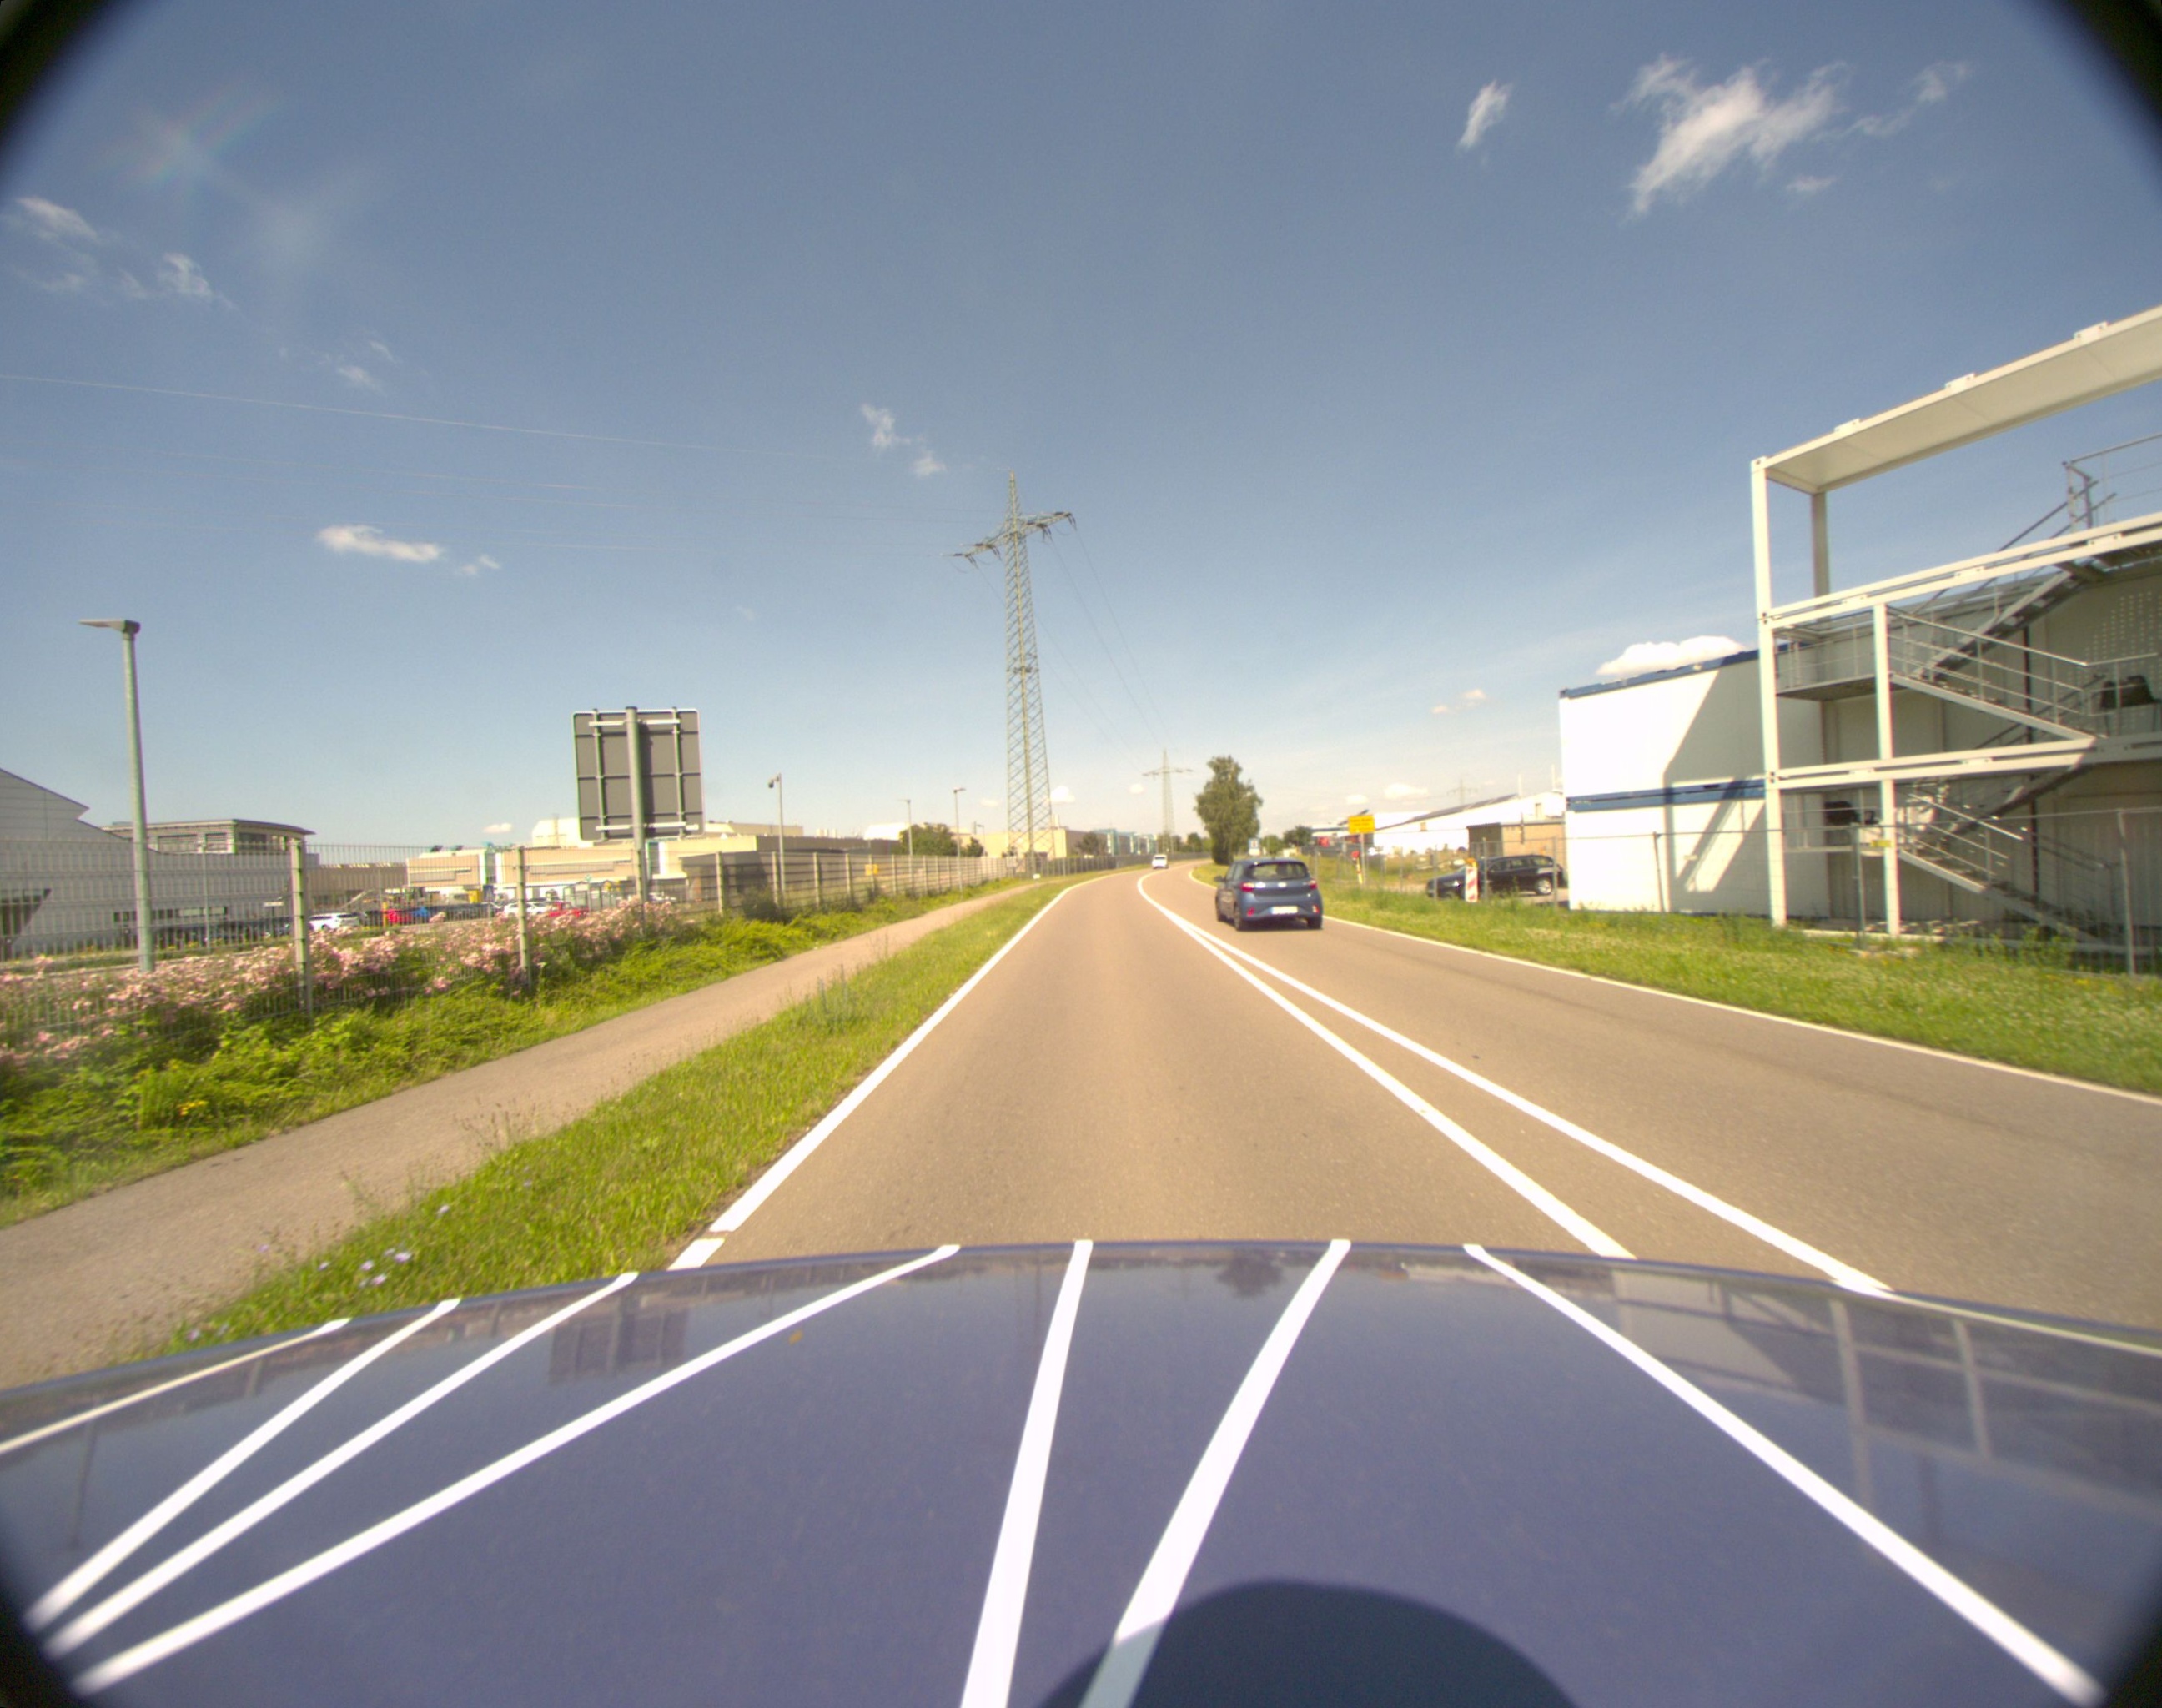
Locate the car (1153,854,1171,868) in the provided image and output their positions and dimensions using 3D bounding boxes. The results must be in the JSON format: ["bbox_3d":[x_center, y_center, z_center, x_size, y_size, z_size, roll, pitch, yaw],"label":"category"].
[{"bbox_3d":[10.626,0.900,99.089,1.835,1.796,4.834,-1,0,12],"label":"car"}]

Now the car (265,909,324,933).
[{"bbox_3d":[-59.293,5.032,57.327,3.053,1.525,1.472,-3,0,7],"label":"car"}]

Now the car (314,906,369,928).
[{"bbox_3d":[-58.510,4.974,60.115,3.053,1.525,1.472,-3,0,7],"label":"car"}]

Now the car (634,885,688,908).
[{"bbox_3d":[-45.092,4.565,81.593,4.746,2.002,2.001,-4,0,11],"label":"car"}]

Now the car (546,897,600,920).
[{"bbox_3d":[-38.184,4.097,57.141,3.148,1.525,1.456,-3,0,7],"label":"car"}]

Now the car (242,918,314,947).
[{"bbox_3d":[-49.534,4.826,46.910,3.053,1.525,1.472,-3,0,7],"label":"car"}]

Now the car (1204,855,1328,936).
[{"bbox_3d":[3.902,0.806,16.688,1.707,1.473,3.999,-2,1,0],"label":"car"}]

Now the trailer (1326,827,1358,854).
[{"bbox_3d":[37.760,-1.909,110.168,3.404,3.624,8.666,-2,1,14],"label":"trailer"}]

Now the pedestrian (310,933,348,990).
[{"bbox_3d":[-23.227,3.312,23.475,0.484,1.643,0.574,-3,1,5],"label":"pedestrian"}]

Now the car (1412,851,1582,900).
[{"bbox_3d":[14.578,0.746,26.740,4.984,1.408,1.999,-3,0,-8],"label":"car"}]

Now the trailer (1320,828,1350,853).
[{"bbox_3d":[40.490,-2.116,121.630,3.295,3.624,14.938,-2,1,14],"label":"trailer"}]

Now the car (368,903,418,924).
[{"bbox_3d":[-58.970,5.104,65.173,3.053,1.525,1.472,-3,0,7],"label":"car"}]

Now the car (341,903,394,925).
[{"bbox_3d":[-58.831,4.973,62.657,3.053,1.525,1.472,-3,0,7],"label":"car"}]

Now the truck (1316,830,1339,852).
[{"bbox_3d":[43.416,-2.340,134.042,3.106,3.624,10.603,-2,1,14],"label":"truck"}]
